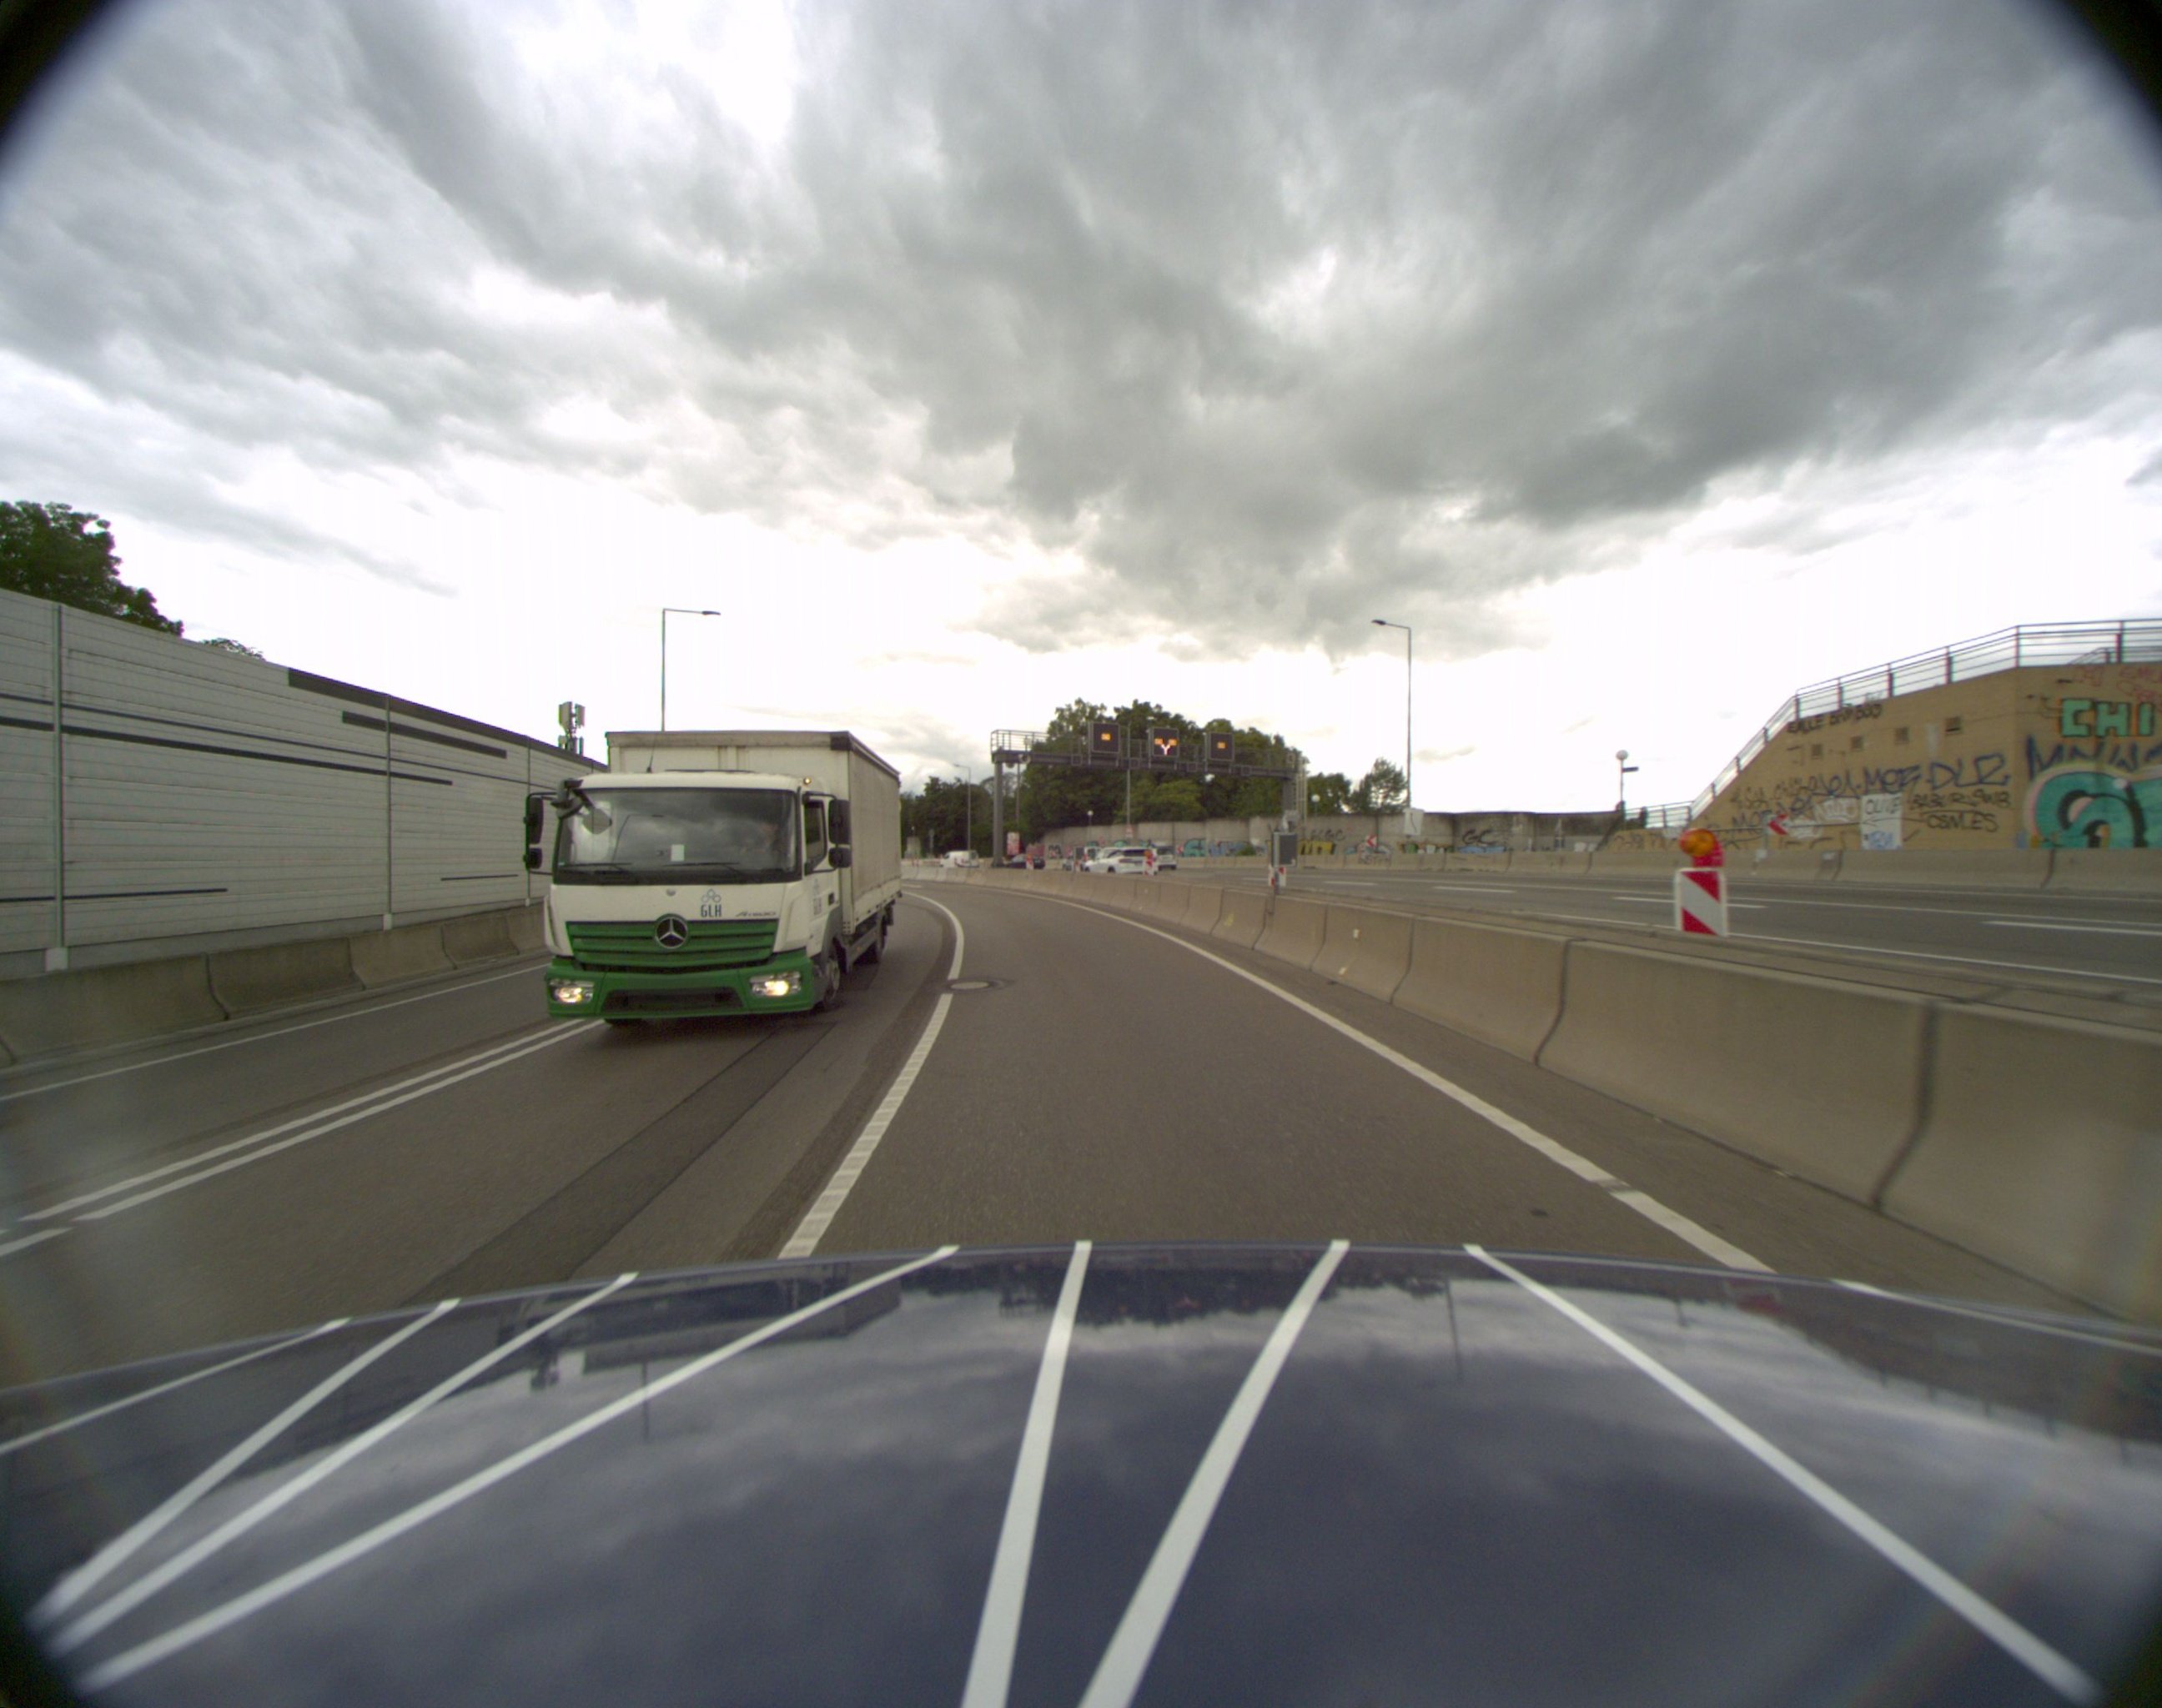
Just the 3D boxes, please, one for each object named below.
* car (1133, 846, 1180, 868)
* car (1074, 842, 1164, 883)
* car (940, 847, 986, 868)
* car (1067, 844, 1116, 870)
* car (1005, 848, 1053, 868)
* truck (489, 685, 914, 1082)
[{"bbox_3d":[5.137,0.211,51.833,1.633,1.467,2.933,-2,1,-34],"label":"car"},{"bbox_3d":[1.499,0.363,32.775,2.106,1.543,5.135,-2,0,-18],"label":"car"},{"bbox_3d":[-11.240,0.316,72.150,2.248,1.940,5.091,-2,1,-36],"label":"car"},{"bbox_3d":[0.683,0.224,52.389,2.002,1.676,4.252,-1,0,-20],"label":"car"},{"bbox_3d":[-4.294,0.323,61.523,2.003,1.480,4.577,-2,1,-31],"label":"car"},{"bbox_3d":[-3.995,0.208,10.169,2.638,3.220,7.410,-4,1,-8],"label":"truck"}]
